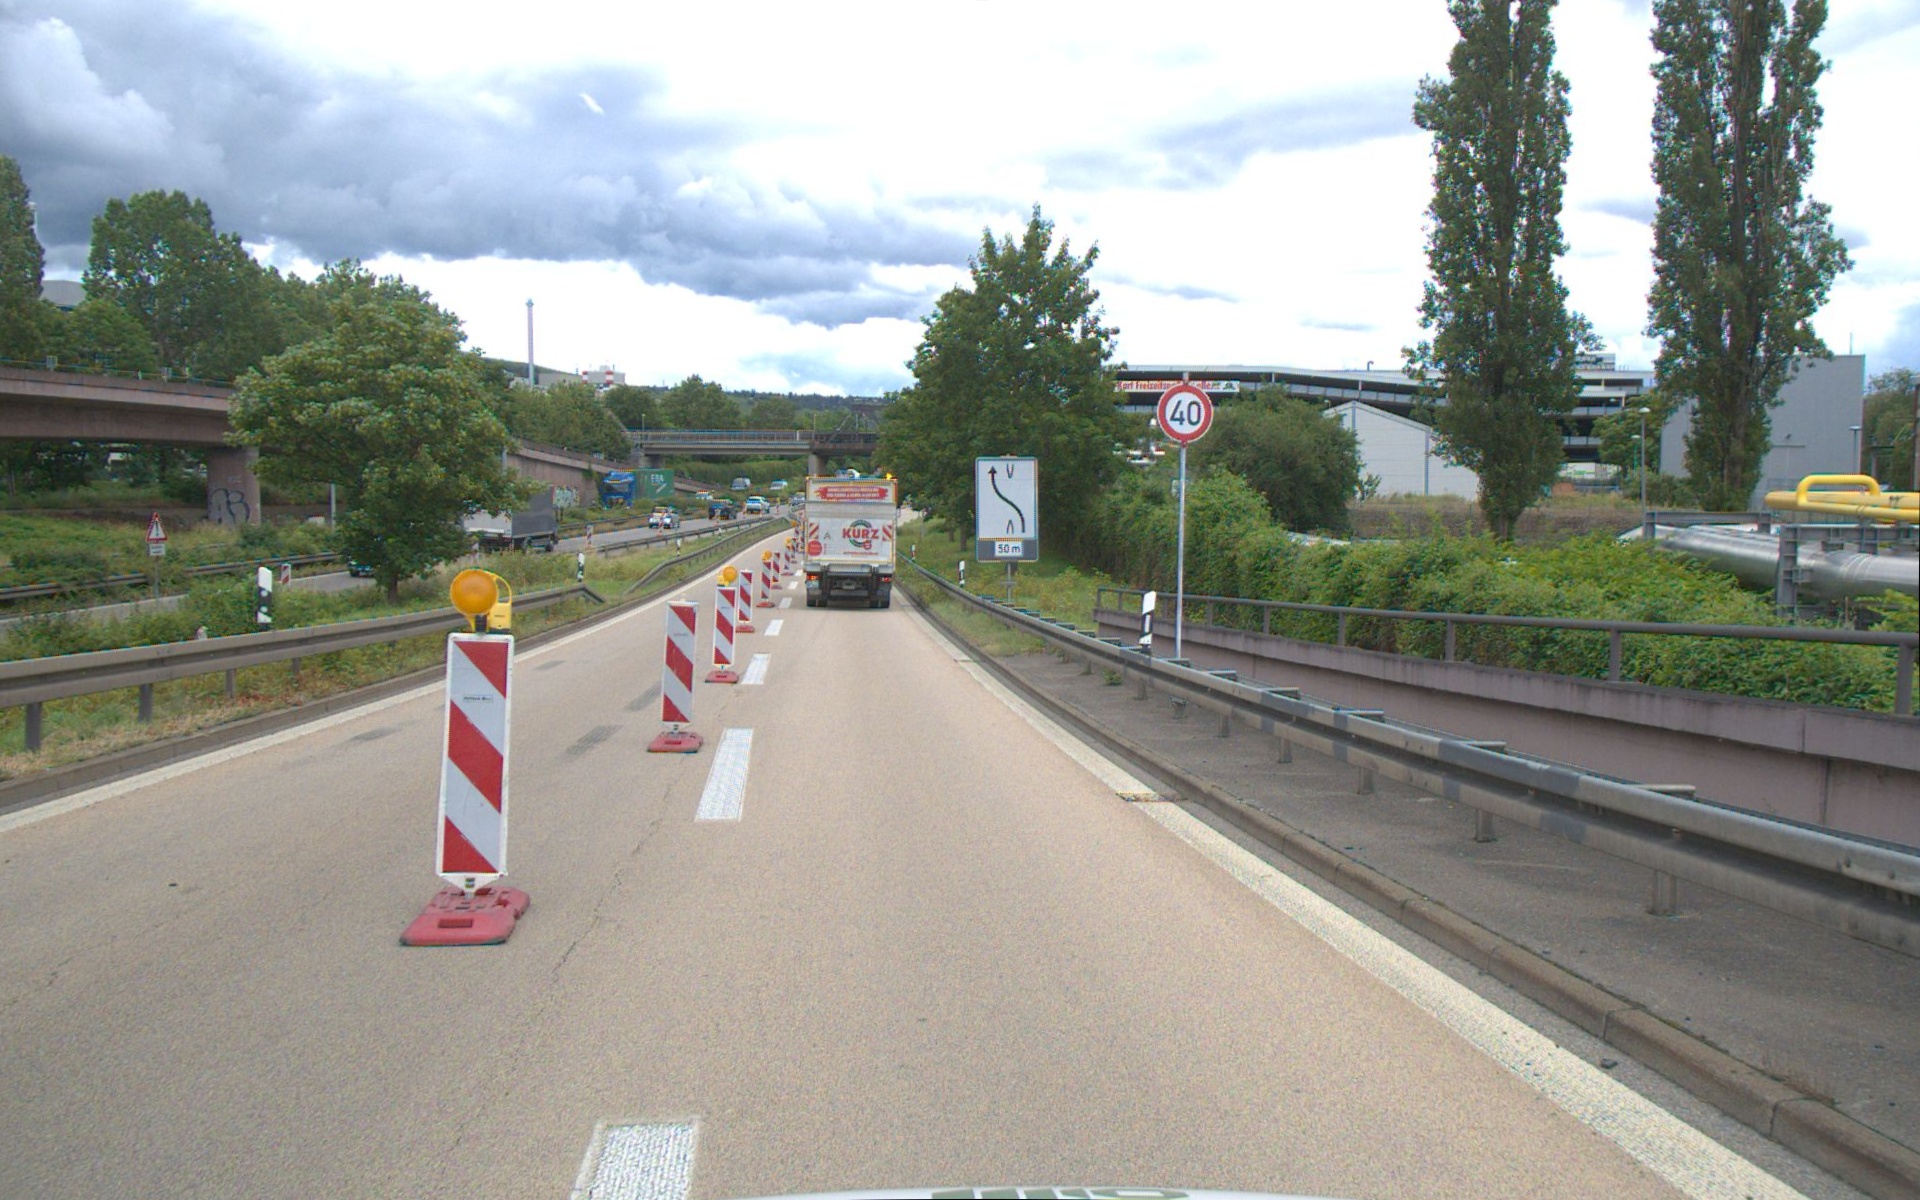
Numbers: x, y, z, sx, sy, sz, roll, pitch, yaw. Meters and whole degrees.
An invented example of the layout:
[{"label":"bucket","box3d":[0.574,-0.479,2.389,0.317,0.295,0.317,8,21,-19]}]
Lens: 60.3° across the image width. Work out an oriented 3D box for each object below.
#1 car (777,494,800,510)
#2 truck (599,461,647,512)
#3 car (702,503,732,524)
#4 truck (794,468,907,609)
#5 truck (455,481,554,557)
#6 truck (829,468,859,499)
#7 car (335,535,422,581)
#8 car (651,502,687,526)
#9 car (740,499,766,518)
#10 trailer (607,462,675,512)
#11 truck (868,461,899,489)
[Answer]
[{"label":"car","box3d":[-18.531,-10.581,178.874,1.953,1.645,4.002,1,4,0]},{"label":"truck","box3d":[-29.692,-10.031,145.830,2.695,4.344,5.508,1,4,4]},{"label":"car","box3d":[-20.443,-7.287,139.344,1.953,1.645,4.002,1,4,0]},{"label":"truck","box3d":[-3.230,-1.787,48.234,2.991,3.736,7.922,1,2,-5]},{"label":"truck","box3d":[-23.471,-4.264,85.628,2.988,3.718,7.400,1,4,1]},{"label":"truck","box3d":[-15.107,-15.262,216.087,3.219,3.918,7.668,1,4,0]},{"label":"car","box3d":[-24.454,-1.785,69.666,1.951,1.742,4.105,1,4,4]},{"label":"car","box3d":[-21.222,-6.297,120.718,1.953,1.645,4.002,1,4,0]},{"label":"car","box3d":[-19.289,-8.560,154.336,1.953,1.645,4.002,1,4,0]},{"label":"trailer","box3d":[-29.249,-10.417,152.454,2.713,4.367,13.992,1,4,3]},{"label":"truck","box3d":[-10.368,-16.945,223.947,3.217,3.661,7.672,1,4,5]}]
